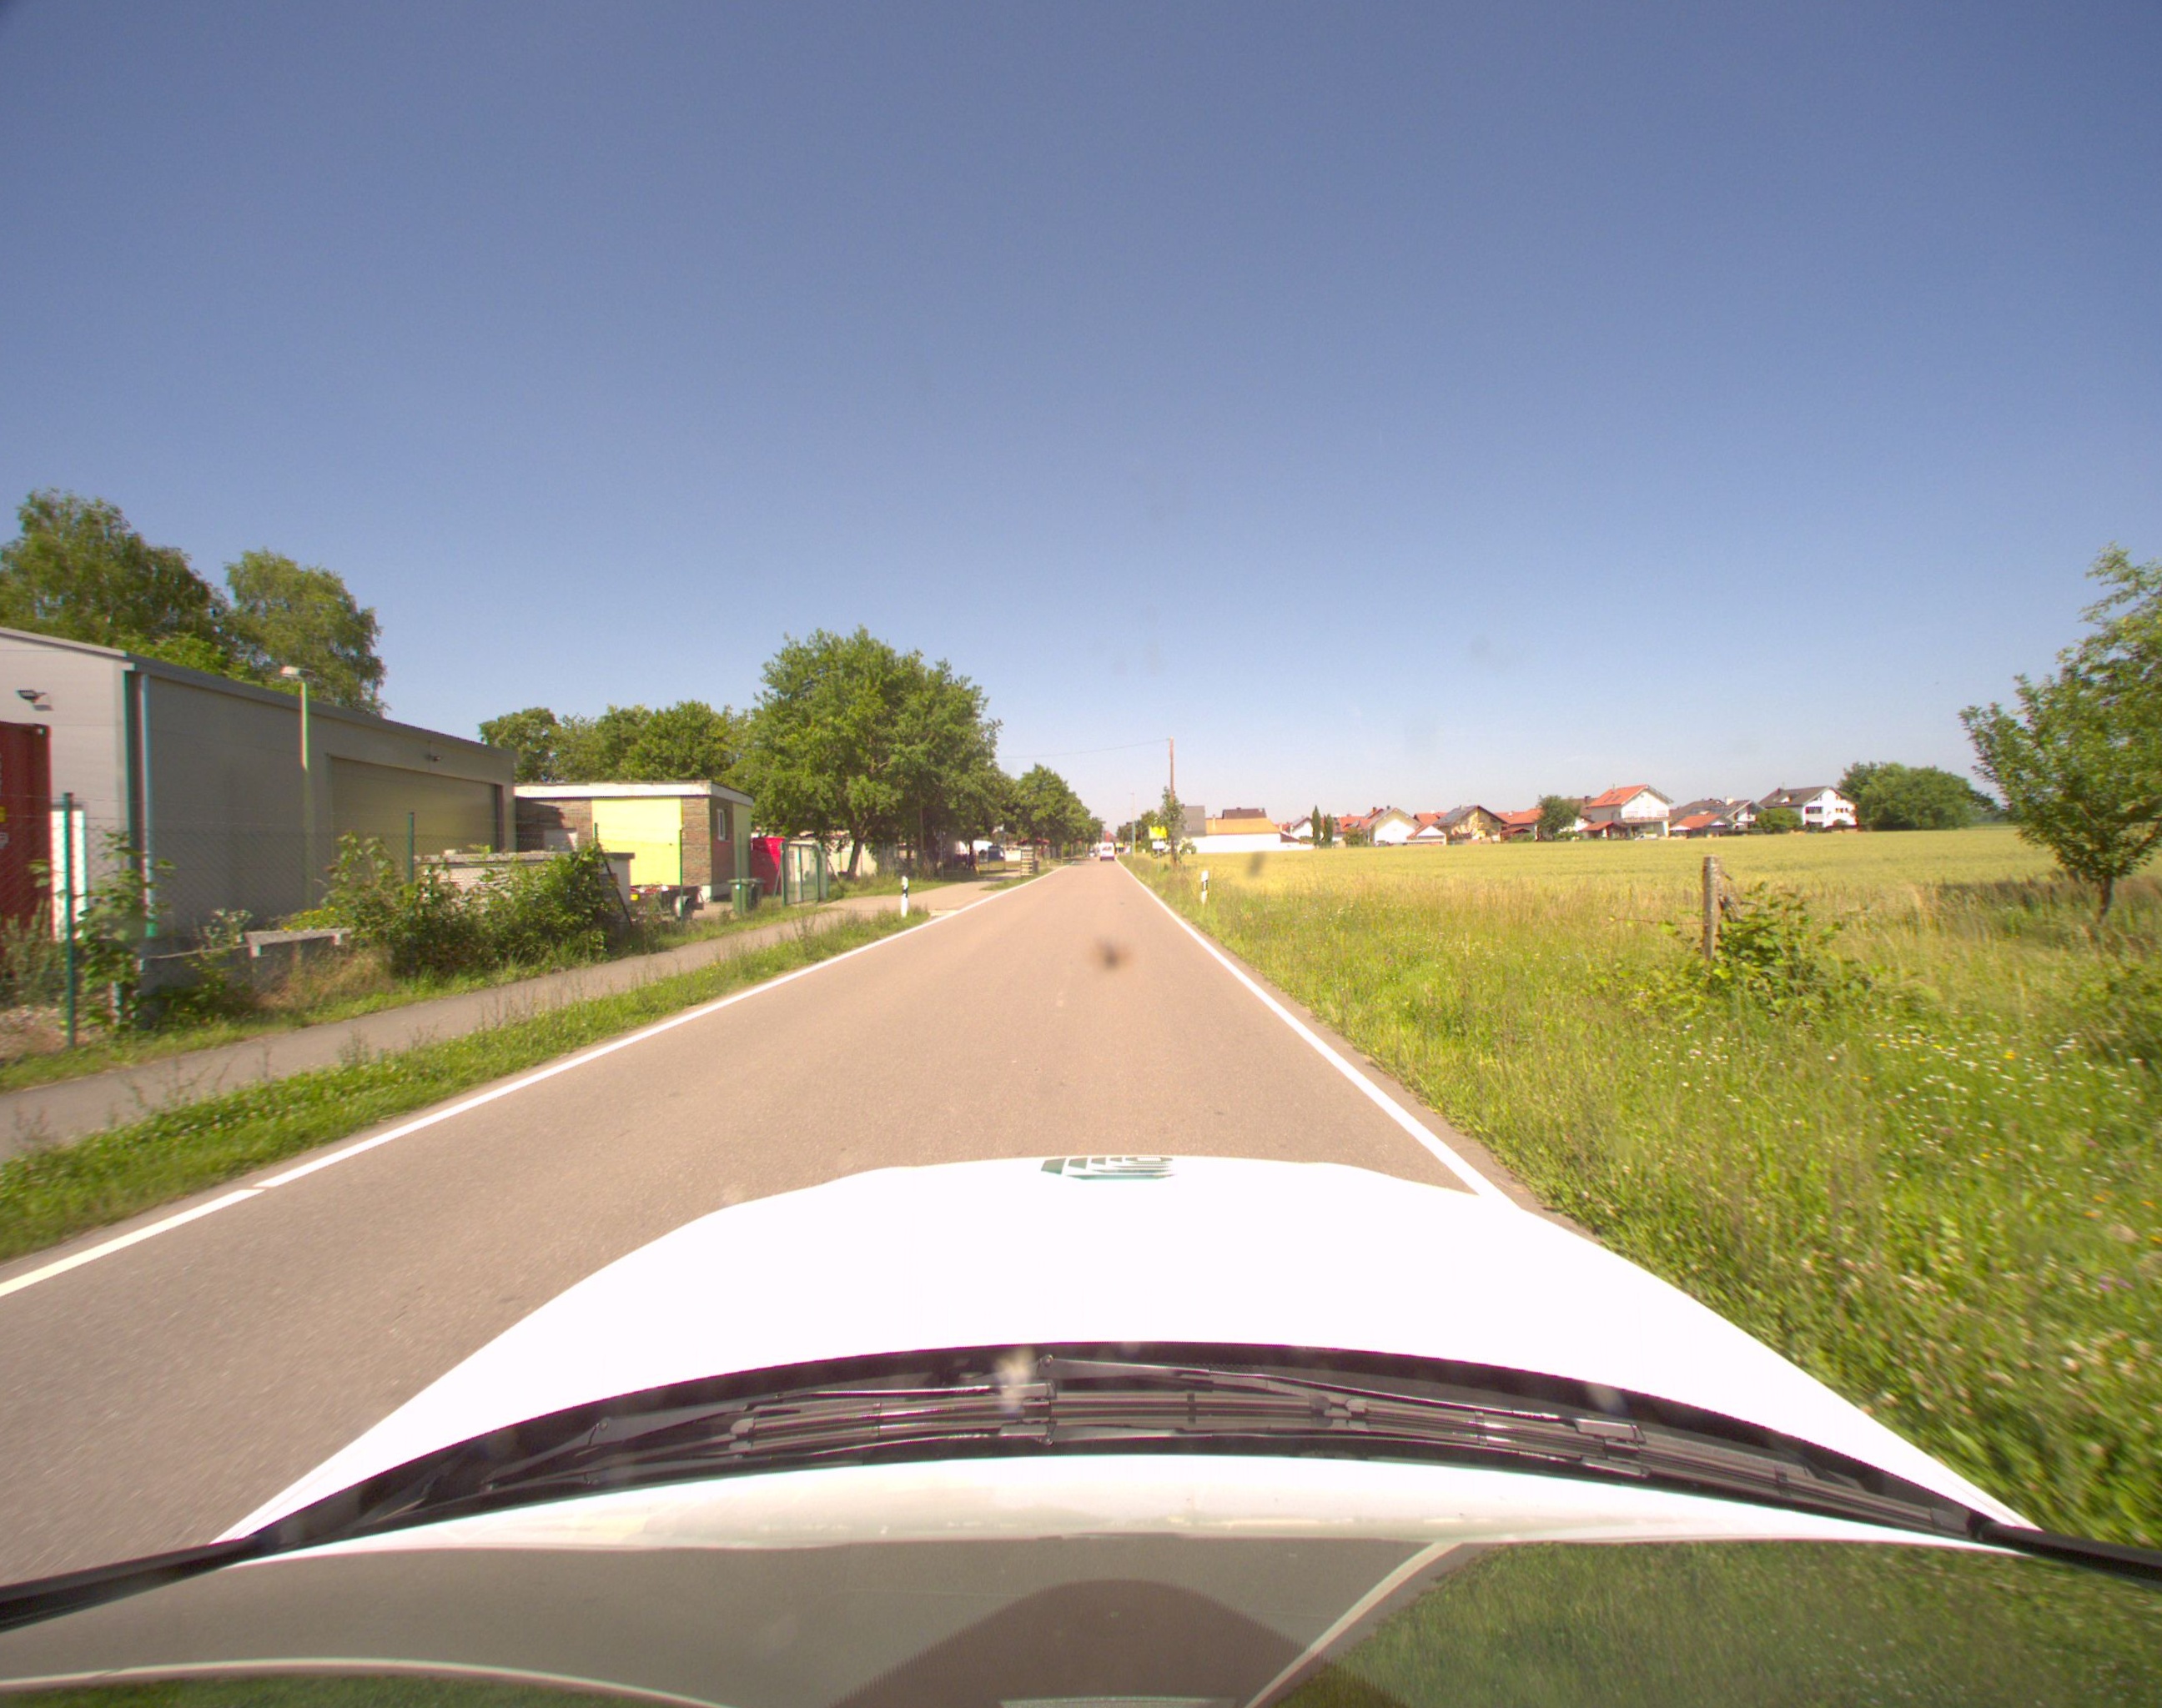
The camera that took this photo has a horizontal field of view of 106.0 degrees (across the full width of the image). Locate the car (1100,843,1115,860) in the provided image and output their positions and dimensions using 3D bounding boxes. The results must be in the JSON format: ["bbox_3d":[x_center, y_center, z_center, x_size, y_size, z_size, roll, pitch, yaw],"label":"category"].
[{"bbox_3d":[3.630,-0.319,113.245,1.986,2.266,4.728,-2,0,2],"label":"car"}]

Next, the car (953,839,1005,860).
[{"bbox_3d":[-11.847,-0.530,94.705,5.639,2.266,1.977,-2,0,-37],"label":"car"}]

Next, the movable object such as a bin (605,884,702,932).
[{"bbox_3d":[-8.810,1.099,16.888,1.095,0.831,1.855,-2,0,-5],"label":"movable object such as a bin"}]

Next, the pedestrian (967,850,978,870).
[{"bbox_3d":[-10.075,0.585,75.367,0.714,1.803,0.713,-2,0,17],"label":"pedestrian"}]

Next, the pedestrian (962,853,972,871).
[{"bbox_3d":[-10.443,0.712,74.620,0.671,1.566,0.722,-2,0,17],"label":"pedestrian"}]

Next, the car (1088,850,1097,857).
[{"bbox_3d":[2.546,-0.095,179.603,1.764,1.590,4.002,-2,0,2],"label":"car"}]
